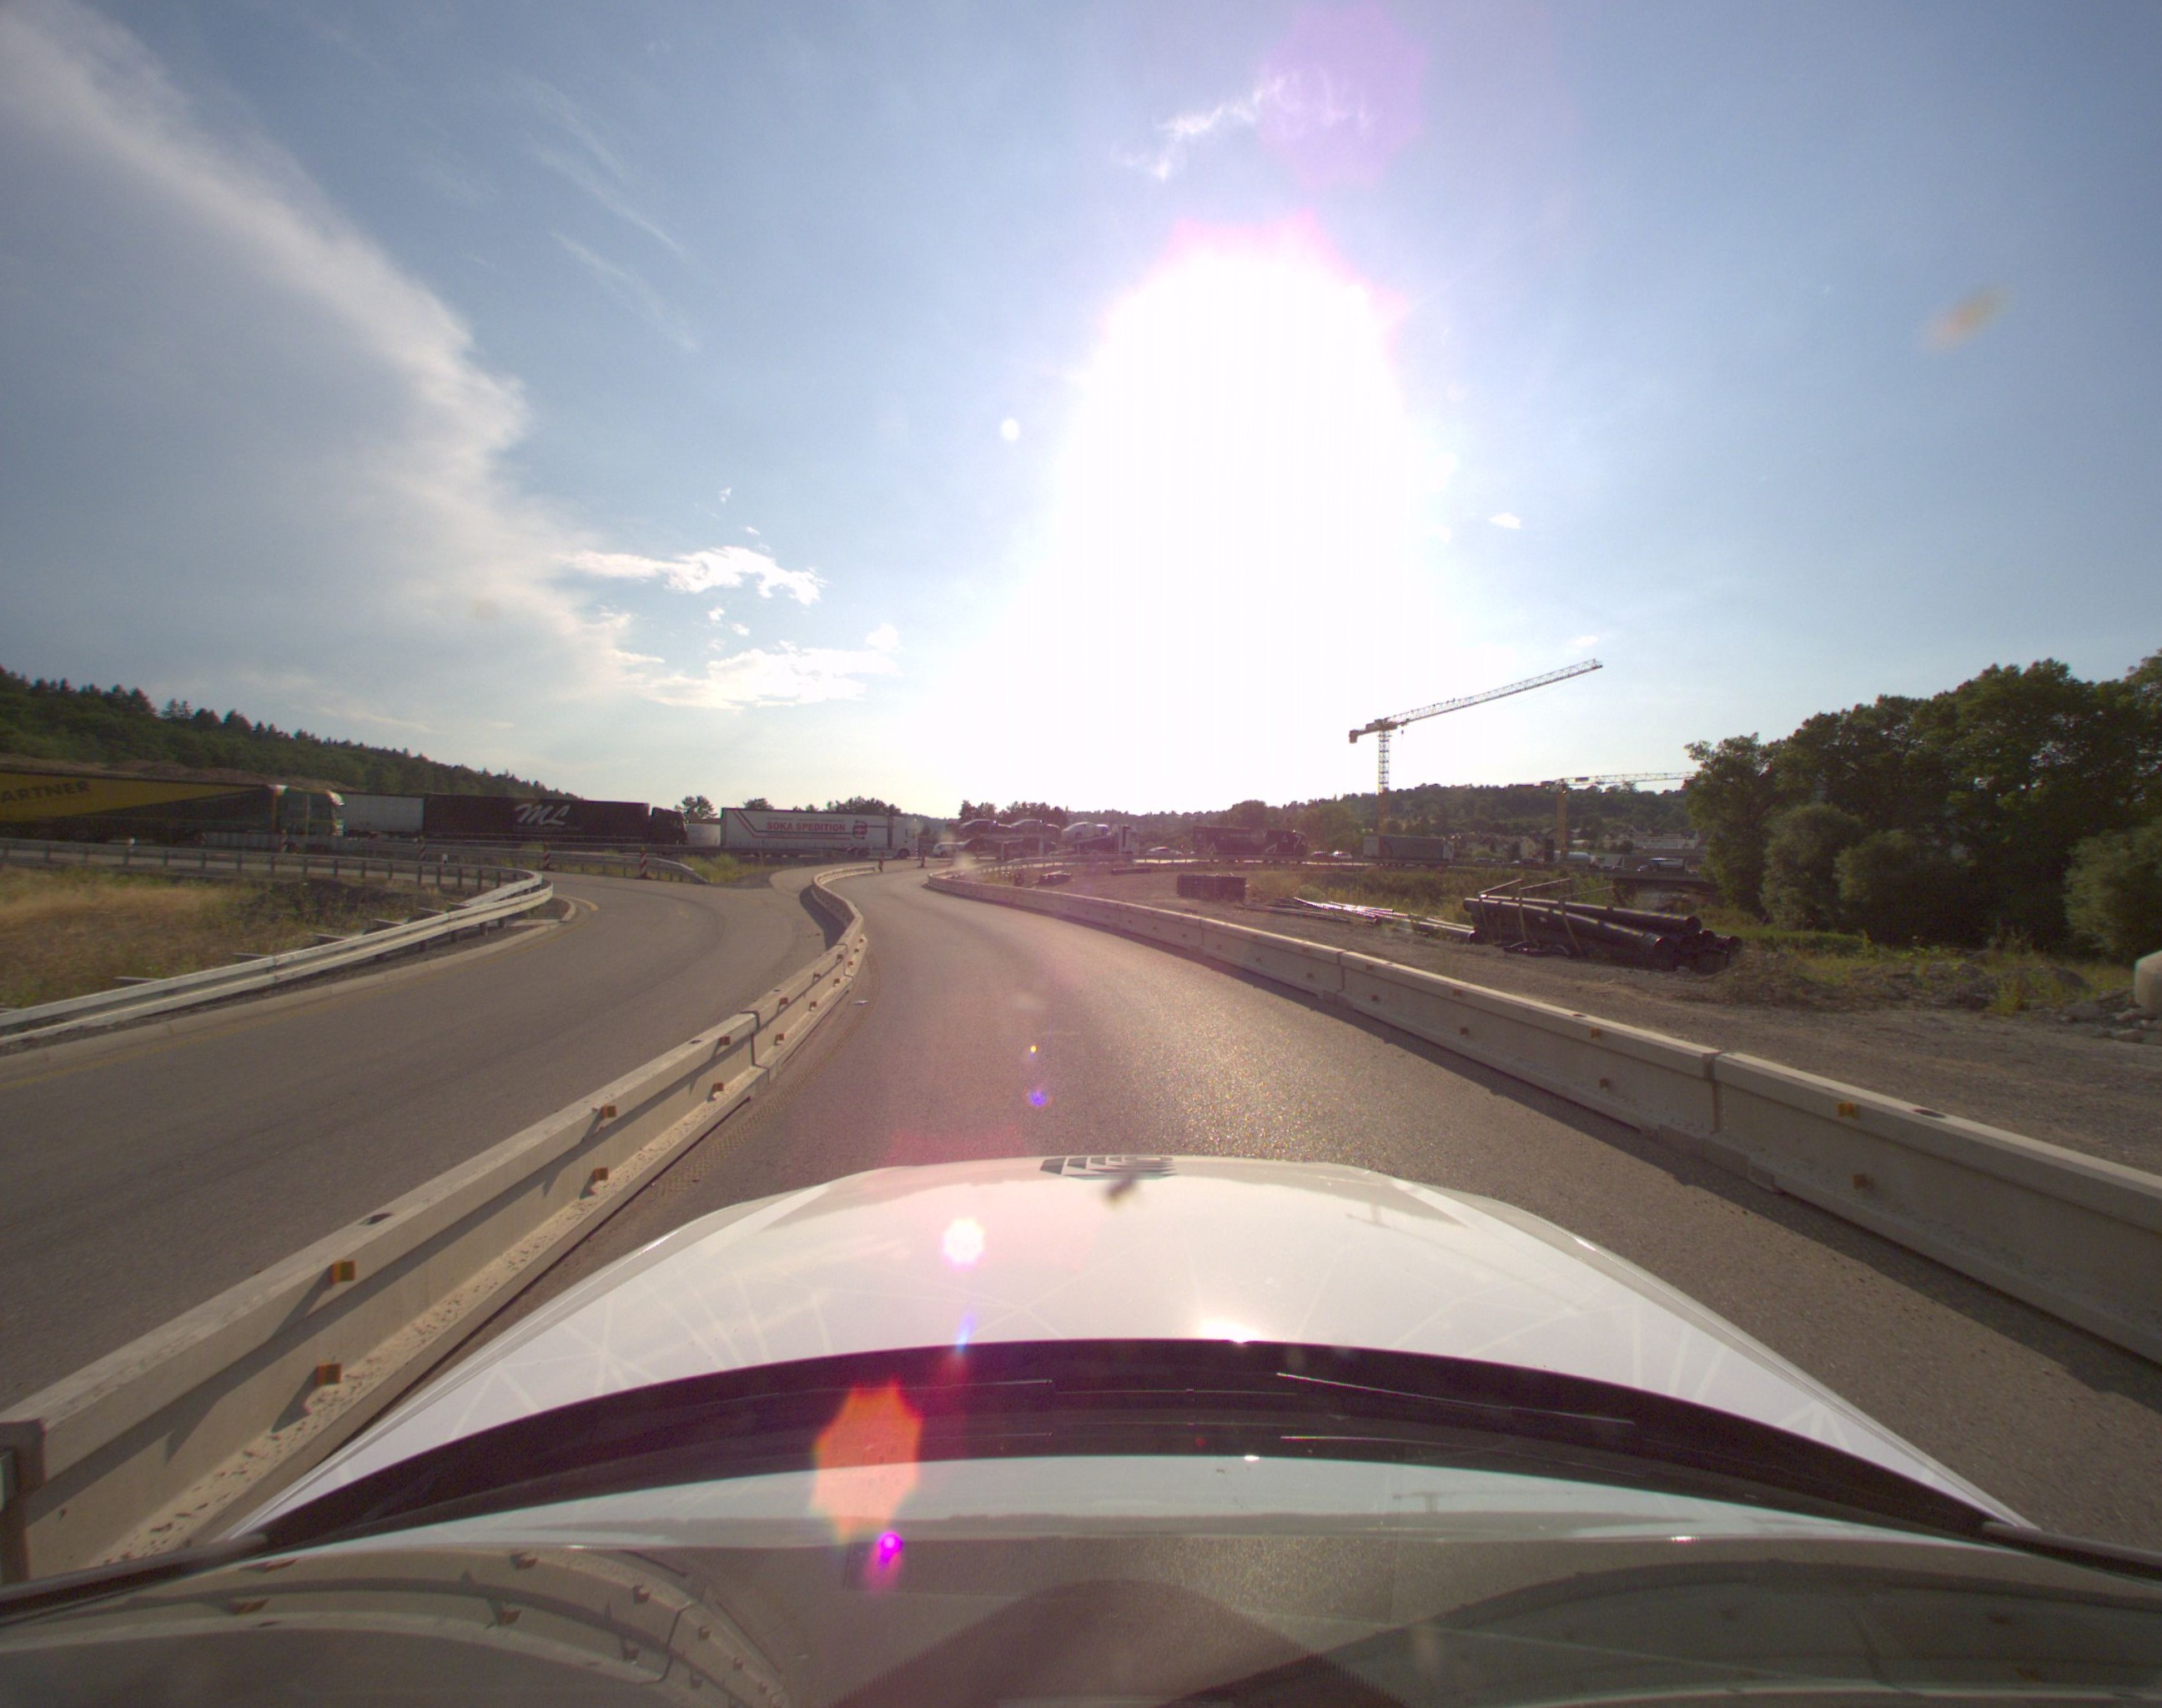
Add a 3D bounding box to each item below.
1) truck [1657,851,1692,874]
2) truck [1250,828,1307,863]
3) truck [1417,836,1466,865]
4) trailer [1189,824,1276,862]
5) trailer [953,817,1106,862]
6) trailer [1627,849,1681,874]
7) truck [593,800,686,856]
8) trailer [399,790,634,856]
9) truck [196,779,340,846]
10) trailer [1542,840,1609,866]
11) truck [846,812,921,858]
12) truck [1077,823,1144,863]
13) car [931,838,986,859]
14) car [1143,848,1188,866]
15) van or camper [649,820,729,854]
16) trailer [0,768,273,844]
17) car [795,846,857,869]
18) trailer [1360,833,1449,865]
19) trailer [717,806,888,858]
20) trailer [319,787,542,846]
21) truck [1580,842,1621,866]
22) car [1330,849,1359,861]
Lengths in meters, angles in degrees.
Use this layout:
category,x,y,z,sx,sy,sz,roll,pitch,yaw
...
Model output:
category,x,y,z,sx,sy,sz,roll,pitch,yaw
truck,115.262,1.594,158.128,6.647,4.285,3.077,2,0,-32
truck,24.369,-1.048,100.284,6.645,3.996,2.866,2,0,-31
truck,52.089,-0.477,117.578,6.647,3.996,3.321,2,0,-32
trailer,17.994,-1.251,96.435,10.827,4.092,2.939,2,-1,-31
trailer,-4.898,-1.361,81.918,15.800,3.996,2.838,2,0,-32
trailer,108.034,1.430,153.469,14.301,4.314,3.082,2,0,-32
truck,-34.208,-1.953,63.222,6.035,4.060,2.462,2,0,-35
trailer,-40.390,-2.089,59.156,13.679,4.061,2.463,2,0,-33
truck,-51.879,-2.568,52.197,6.031,3.901,2.464,2,0,-32
trailer,83.781,-0.106,137.776,14.796,3.996,3.362,2,0,-32
truck,-17.925,-1.657,73.924,6.032,3.878,2.463,2,0,-33
truck,3.215,-1.143,87.082,6.647,3.996,2.829,2,0,-32
car,-12.162,-0.544,81.209,4.995,1.980,2.016,1,2,-31
car,9.968,0.383,95.770,4.995,1.980,2.016,1,2,-31
van or camper,-32.948,-1.424,68.524,5.920,2.619,1.981,2,1,-30
trailer,-58.037,-2.789,48.329,14.022,3.958,2.464,2,0,-32
car,-23.179,0.325,73.948,4.995,1.980,2.016,1,2,-31
trailer,45.035,-0.672,113.097,14.796,3.996,3.362,2,0,-32
trailer,-23.700,-1.794,70.189,13.679,3.878,2.463,2,0,-33
trailer,-51.264,-2.856,65.005,13.522,3.996,2.838,2,0,-32
truck,90.673,0.063,142.156,6.647,3.996,3.367,2,0,-32
car,37.662,0.133,116.387,4.252,1.500,1.646,1,2,-31
